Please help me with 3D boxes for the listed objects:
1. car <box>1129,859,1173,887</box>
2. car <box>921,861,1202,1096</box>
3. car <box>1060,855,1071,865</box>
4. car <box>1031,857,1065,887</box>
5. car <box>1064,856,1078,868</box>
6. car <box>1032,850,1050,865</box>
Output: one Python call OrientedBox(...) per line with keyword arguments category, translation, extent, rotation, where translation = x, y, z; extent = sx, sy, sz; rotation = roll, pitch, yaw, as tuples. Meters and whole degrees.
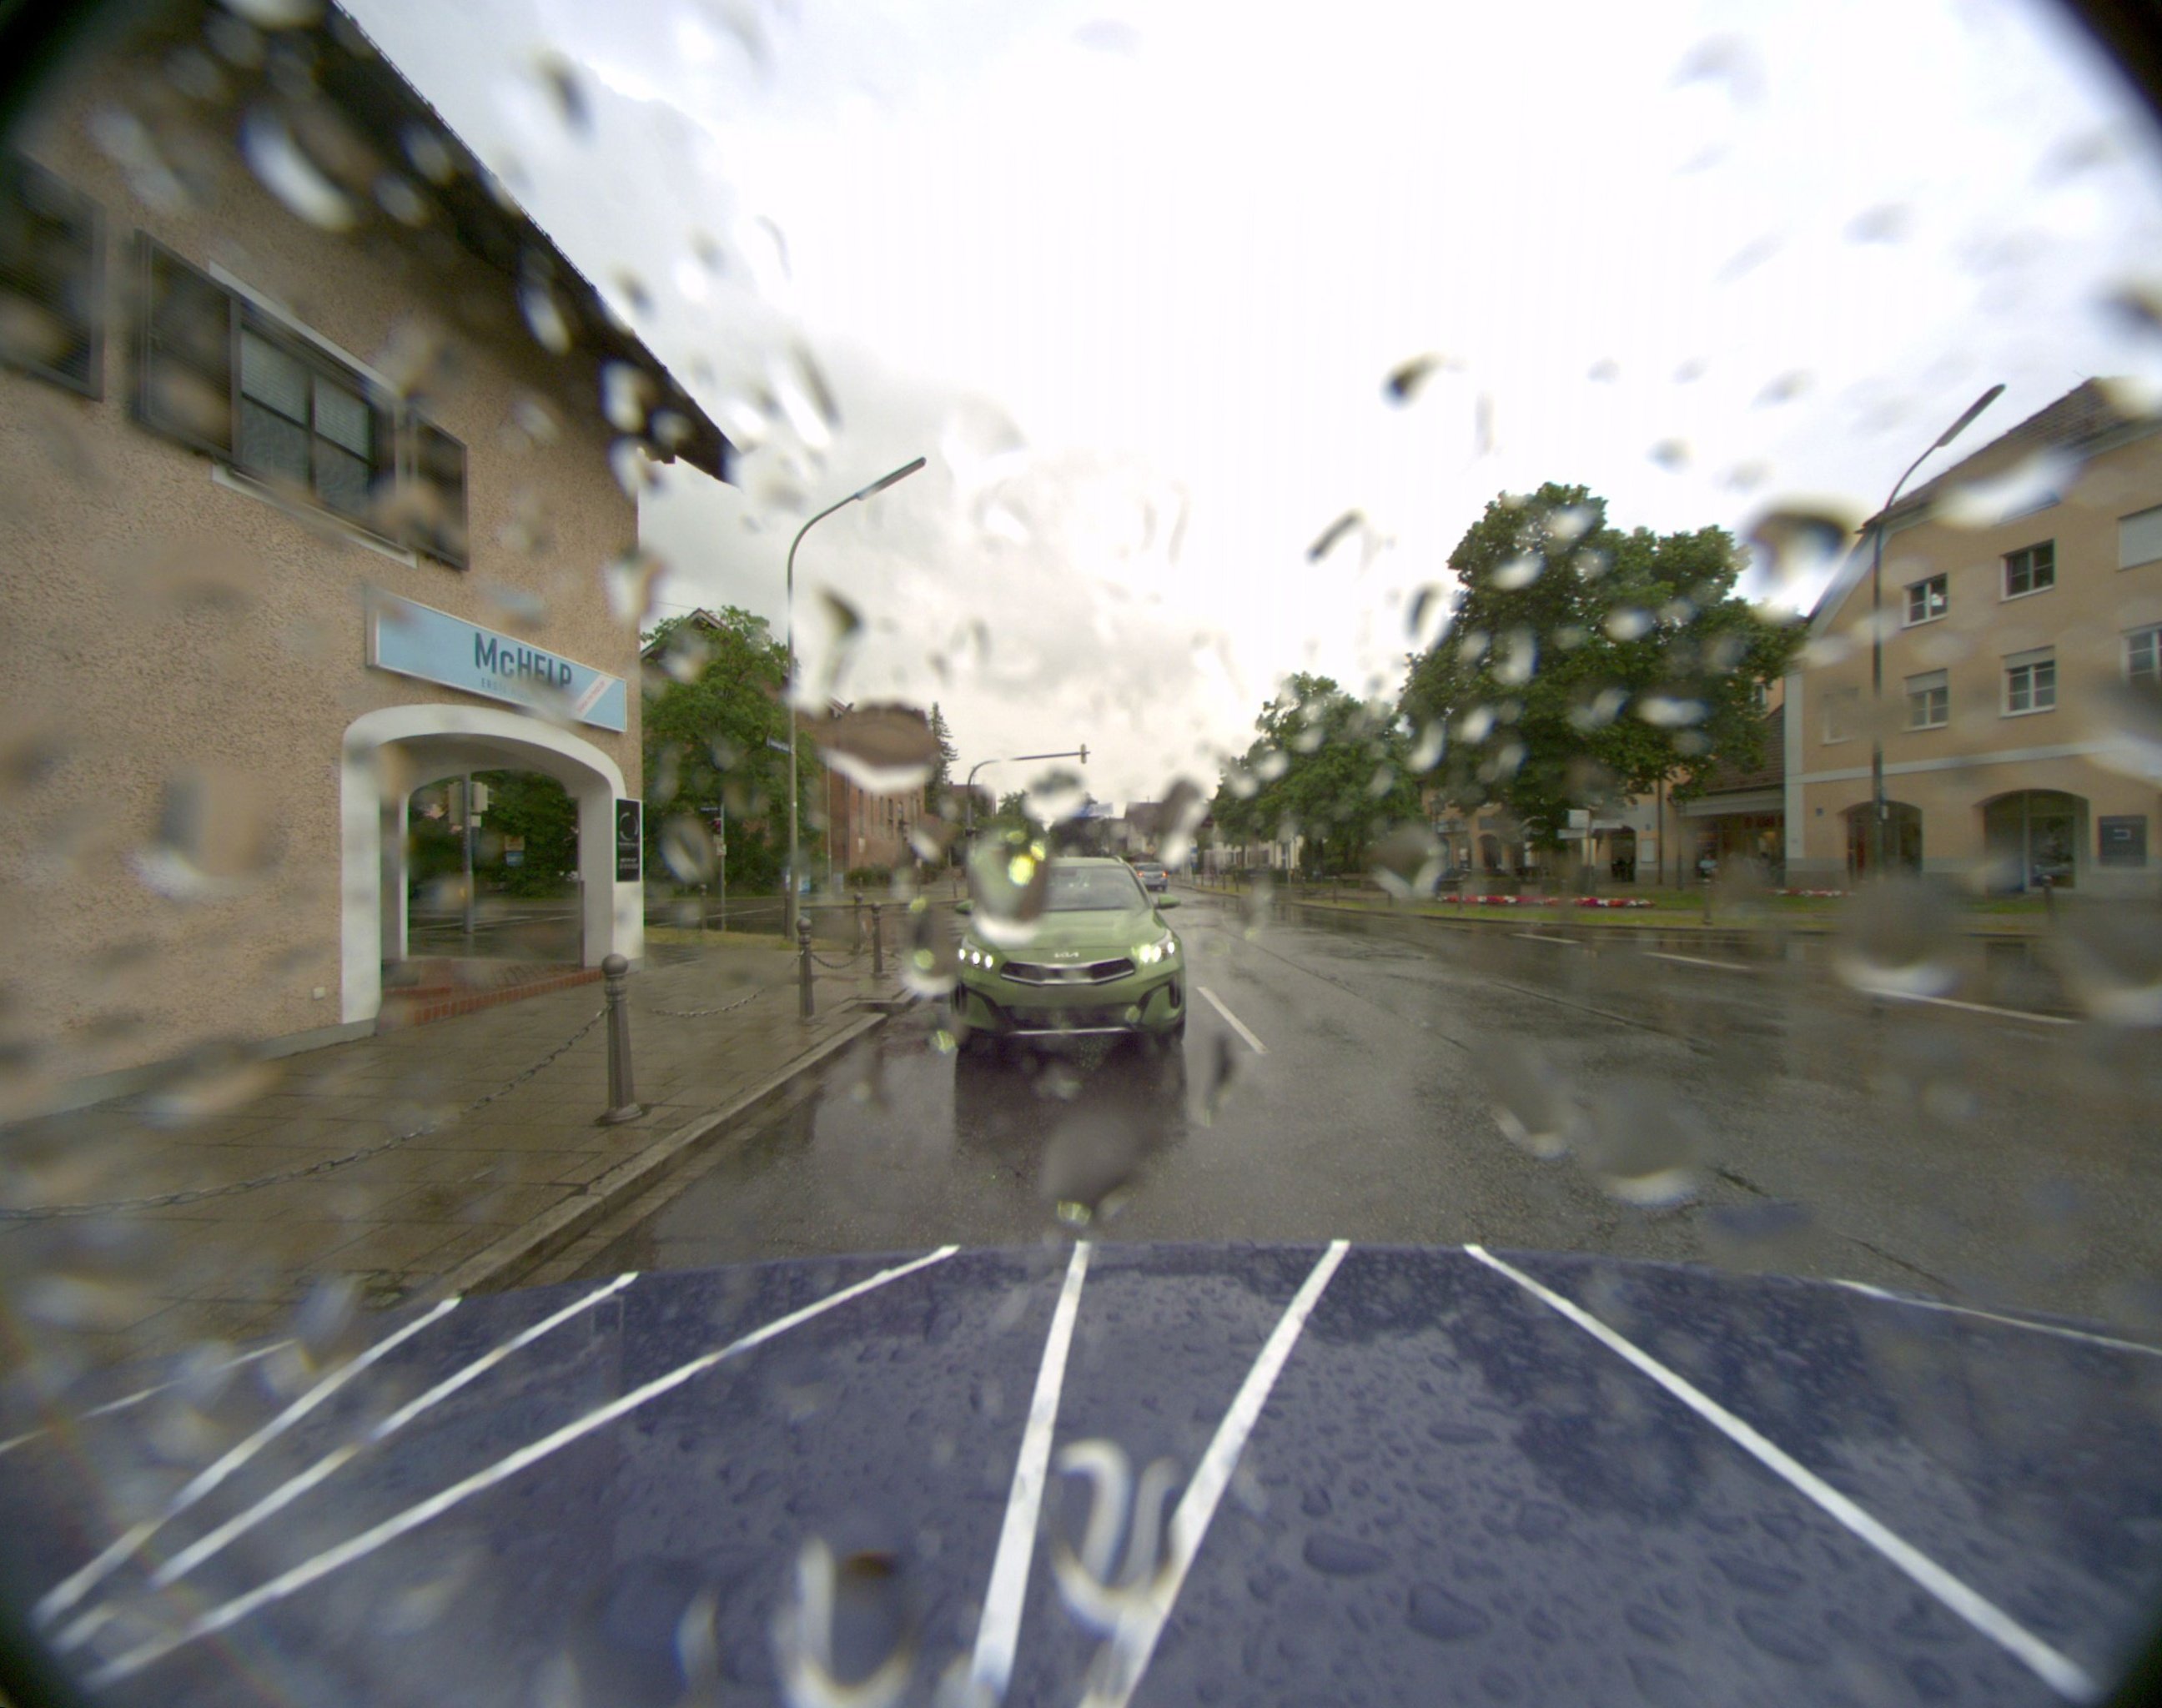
OrientedBox(category="car", translation=(3.797, 1.001, 41.640), extent=(1.873, 1.447, 4.103), rotation=(-1, 0, -2))
OrientedBox(category="car", translation=(-0.102, 0.858, 7.162), extent=(1.872, 1.505, 4.104), rotation=(-1, 0, 1))
OrientedBox(category="car", translation=(-2.891, 1.108, 141.104), extent=(1.810, 1.677, 3.998), rotation=(-1, 0, -4))
OrientedBox(category="car", translation=(-1.787, 0.944, 41.098), extent=(1.736, 1.489, 4.609), rotation=(0, 0, -3))
OrientedBox(category="car", translation=(-1.565, 1.234, 114.362), extent=(1.810, 1.677, 3.998), rotation=(-1, 0, -4))
OrientedBox(category="car", translation=(-5.396, 0.441, 101.643), extent=(2.218, 1.977, 4.952), rotation=(0, 0, -5))
